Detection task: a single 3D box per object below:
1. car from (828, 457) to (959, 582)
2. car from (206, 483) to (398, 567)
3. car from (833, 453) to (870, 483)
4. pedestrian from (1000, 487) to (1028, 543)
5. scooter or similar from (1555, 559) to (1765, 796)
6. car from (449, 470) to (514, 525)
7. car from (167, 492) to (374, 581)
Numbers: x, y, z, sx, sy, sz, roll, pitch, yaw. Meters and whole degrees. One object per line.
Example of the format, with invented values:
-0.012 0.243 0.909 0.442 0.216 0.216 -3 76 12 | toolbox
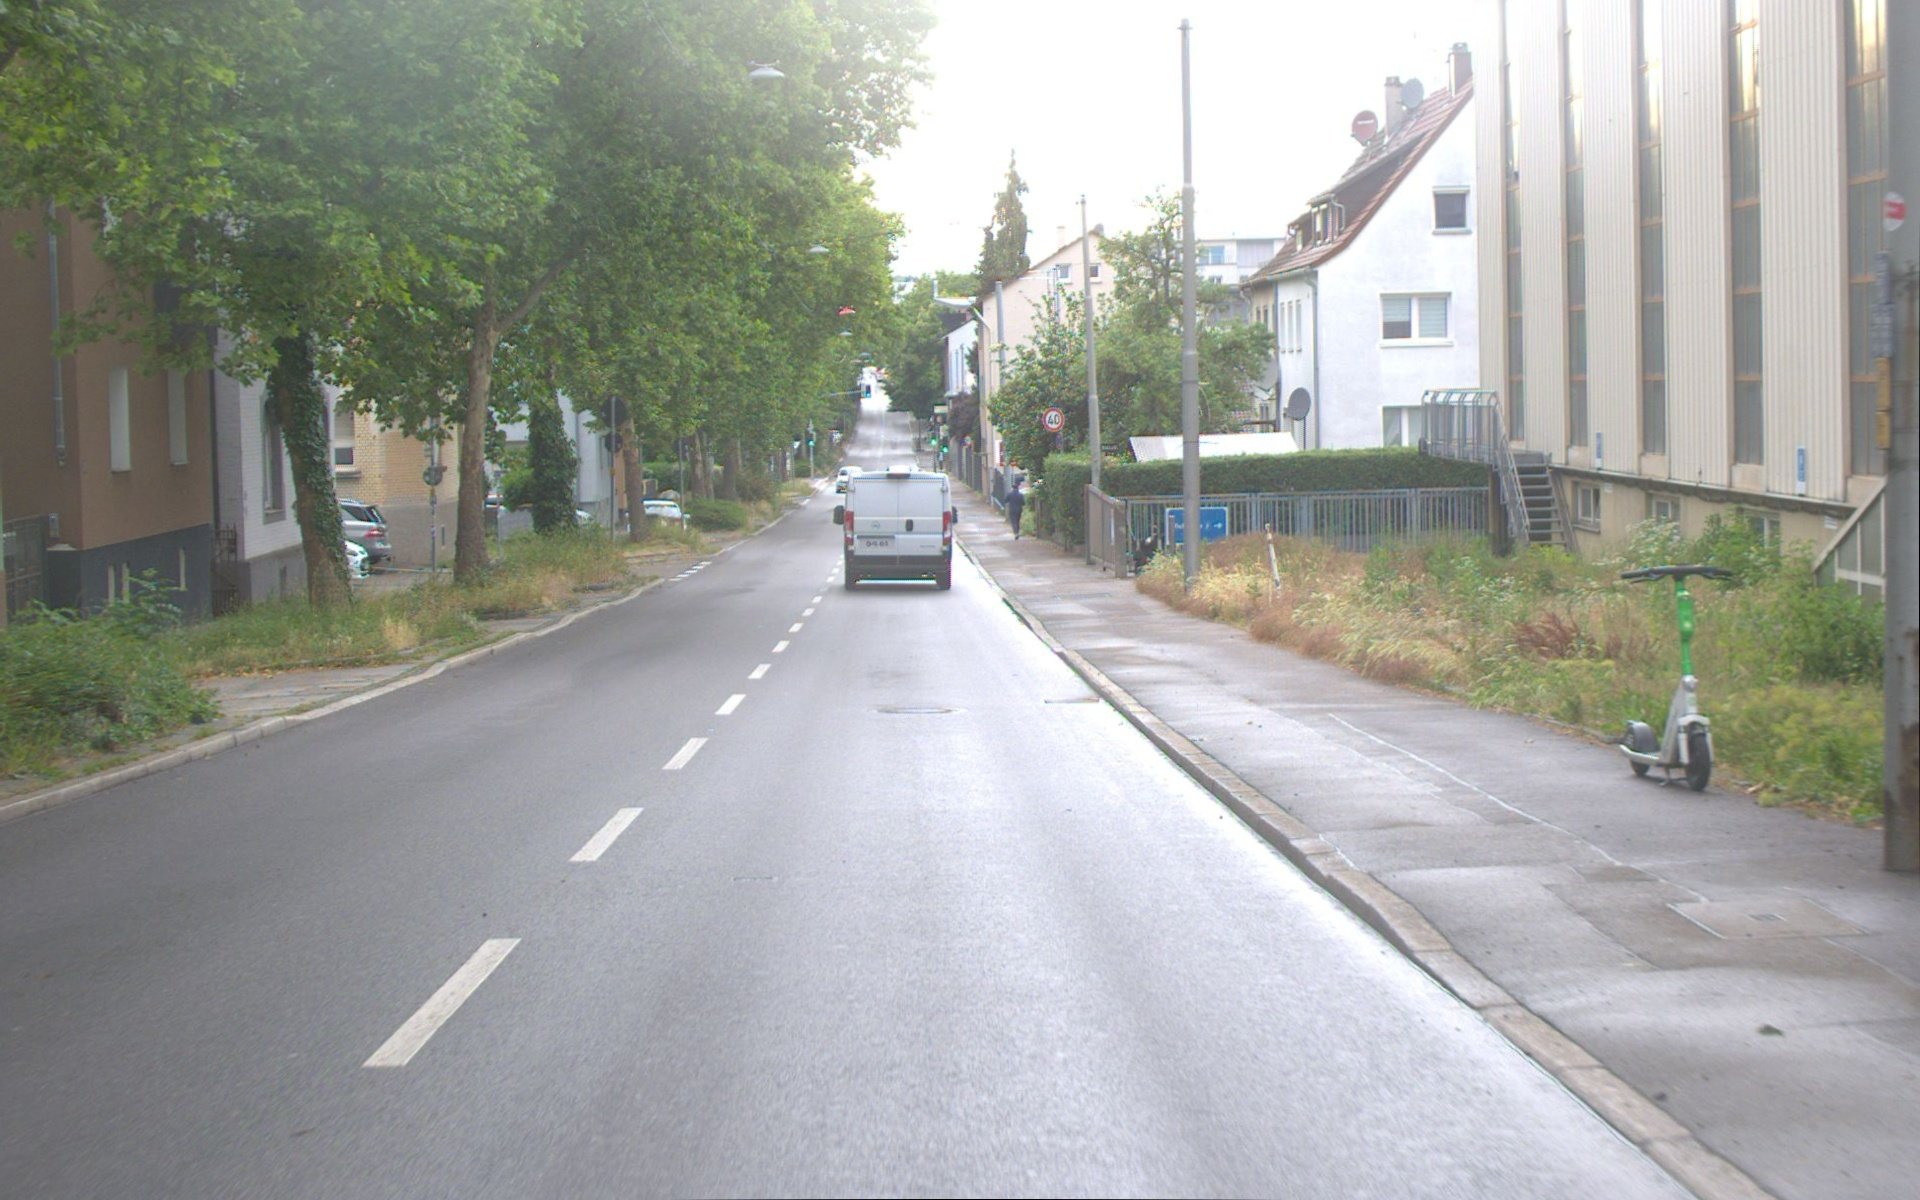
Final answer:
-1.326 -1.598 66.467 2.346 2.152 4.779 -2 4 -2 | car
-15.684 -1.805 82.149 4.196 1.885 2.000 -1 2 -1 | car
-6.376 -7.777 202.071 1.993 1.703 4.261 -1 2 -4 | car
1.642 -2.581 104.077 0.816 1.692 0.729 -1 2 2 | pedestrian
3.672 0.378 18.152 0.605 1.158 1.700 -1 1 -5 | scooter or similar
-17.501 -3.770 125.825 1.875 1.888 4.001 -1 3 -1 | car
-15.319 -1.427 76.567 4.196 1.885 2.000 -1 2 -1 | car
